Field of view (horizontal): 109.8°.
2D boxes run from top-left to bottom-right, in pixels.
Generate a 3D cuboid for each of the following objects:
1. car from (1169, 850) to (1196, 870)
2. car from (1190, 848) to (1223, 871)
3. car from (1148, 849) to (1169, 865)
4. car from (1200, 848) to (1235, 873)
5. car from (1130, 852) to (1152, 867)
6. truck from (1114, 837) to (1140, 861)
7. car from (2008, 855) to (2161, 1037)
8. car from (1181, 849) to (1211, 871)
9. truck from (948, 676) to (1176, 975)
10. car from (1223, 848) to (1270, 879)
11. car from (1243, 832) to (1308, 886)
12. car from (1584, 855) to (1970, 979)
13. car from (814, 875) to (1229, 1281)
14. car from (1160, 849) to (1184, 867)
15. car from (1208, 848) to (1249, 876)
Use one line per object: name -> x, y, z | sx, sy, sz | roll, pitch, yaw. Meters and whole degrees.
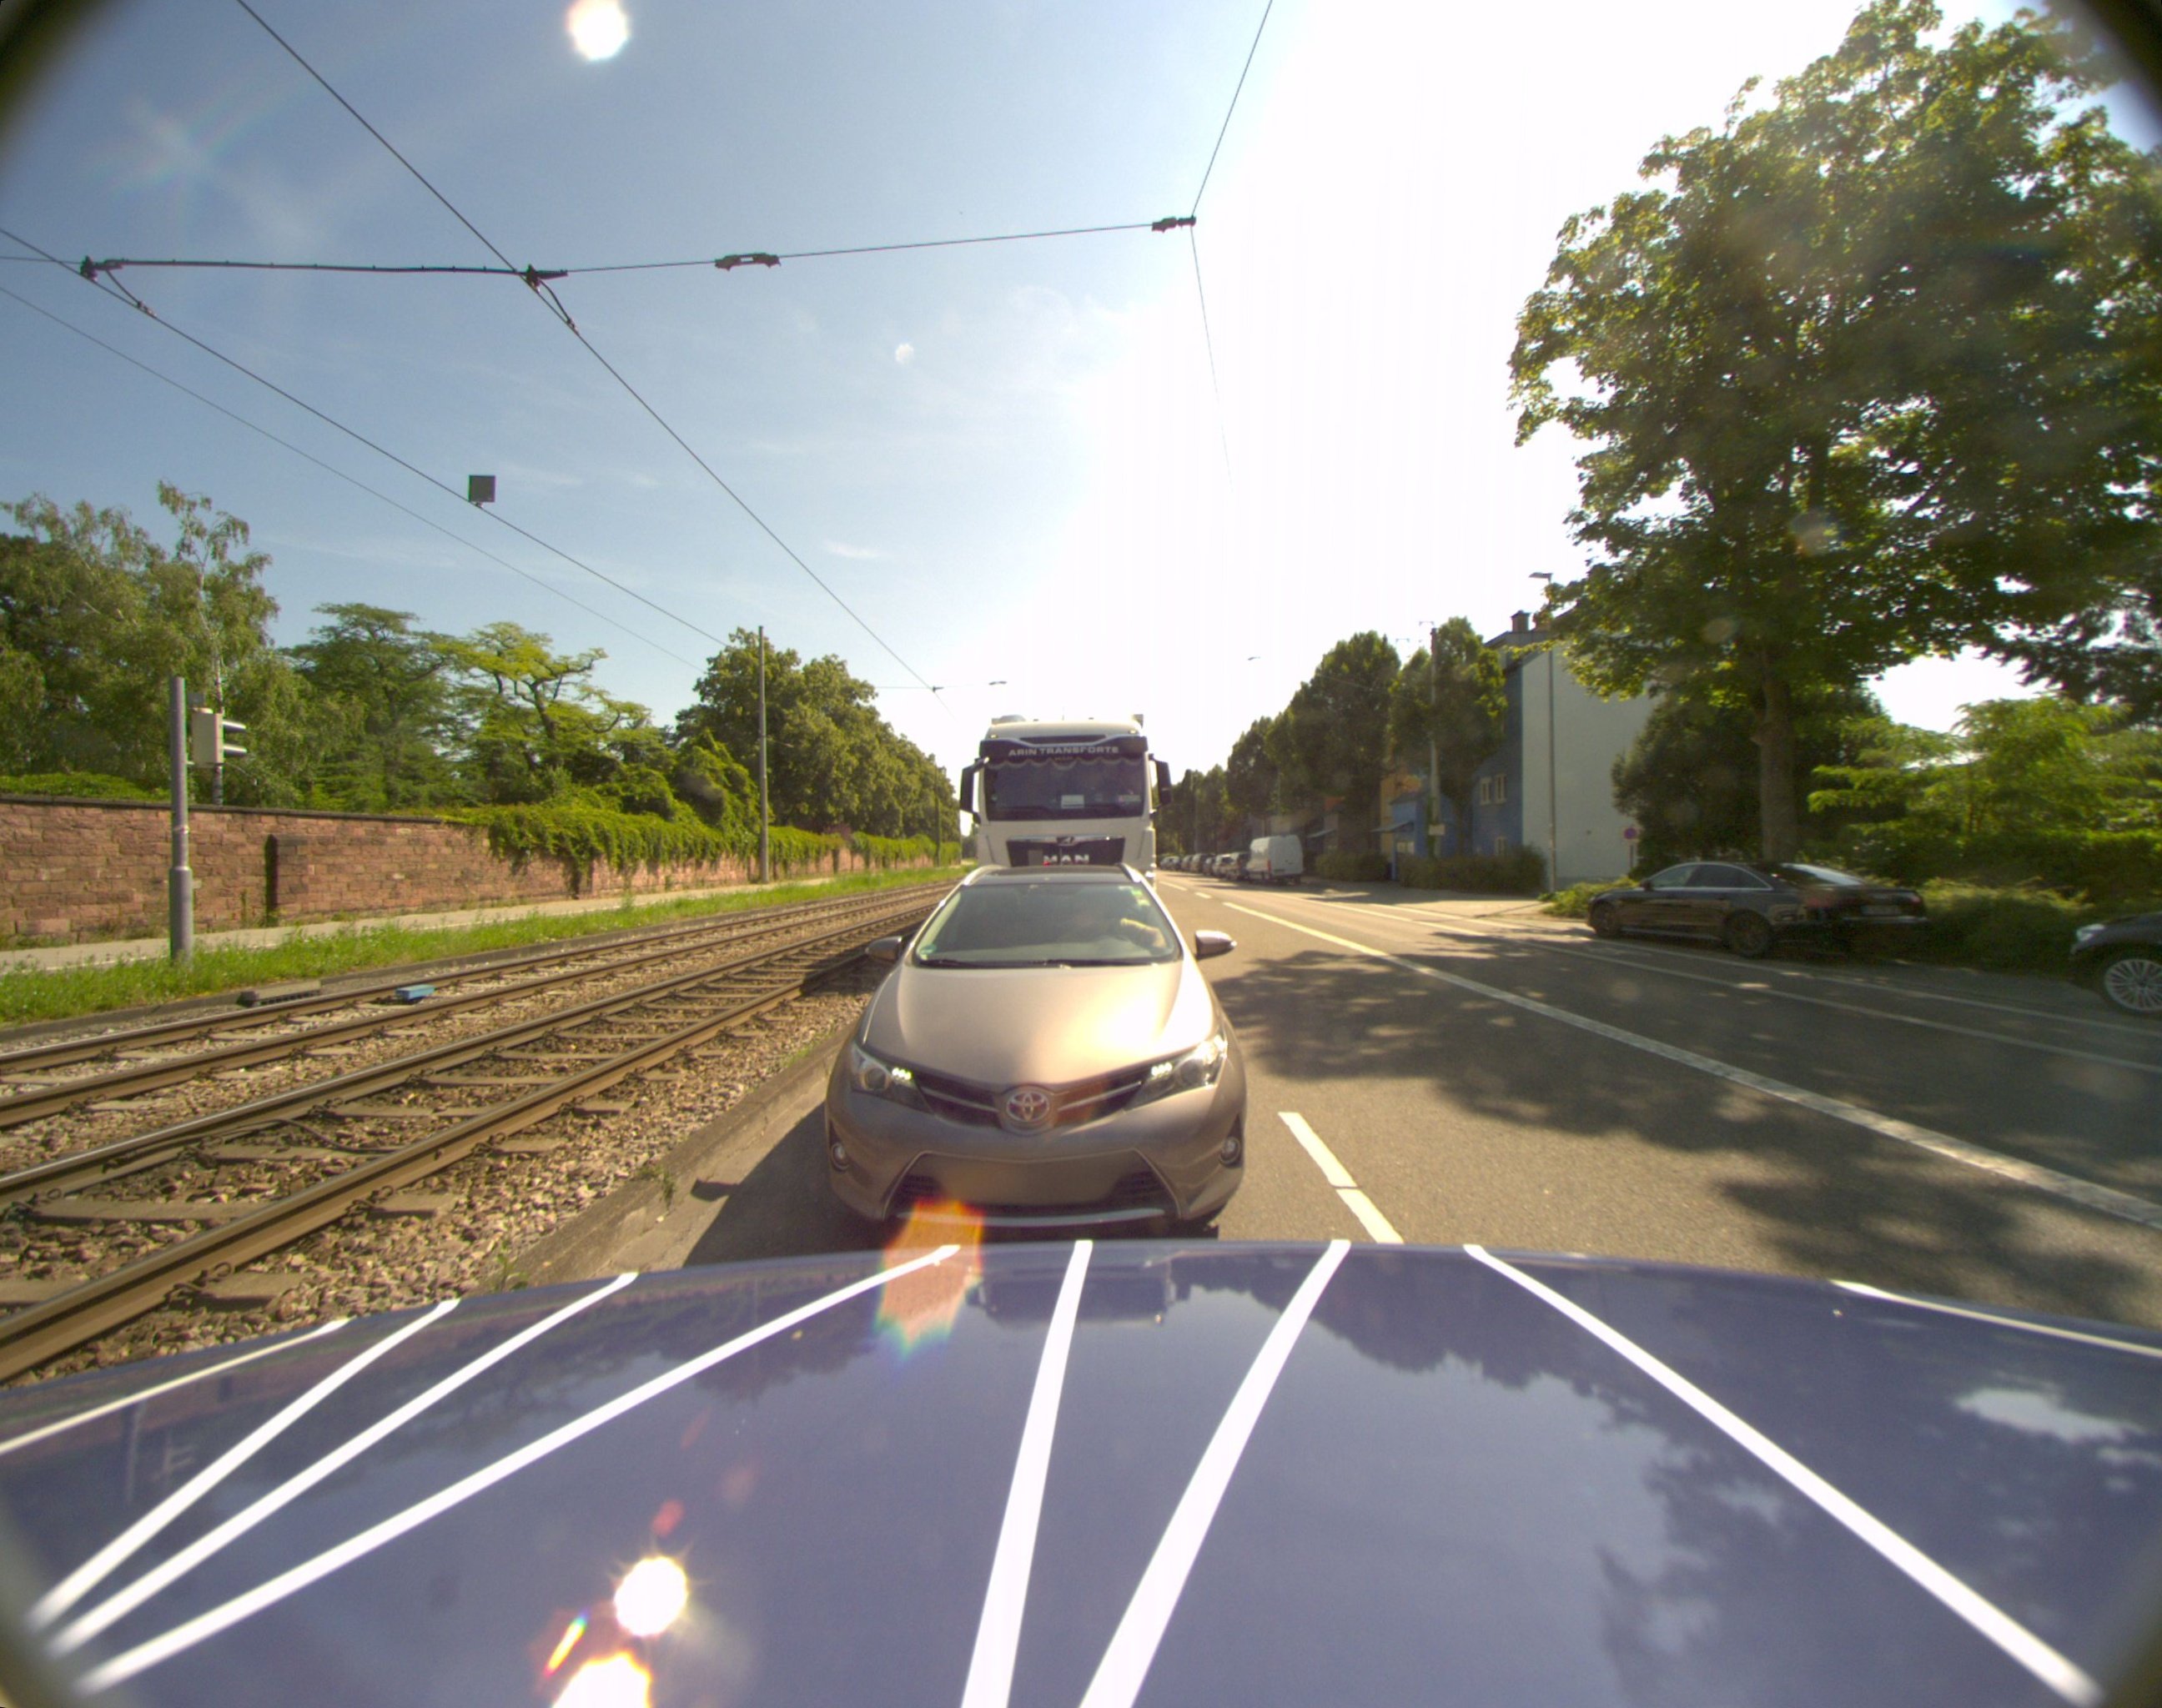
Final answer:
car -> 10.577, 0.633, 79.175 | 1.998, 1.795, 4.769 | -6, 0, 0
car -> 11.153, 0.499, 67.681 | 1.998, 1.795, 4.769 | -6, 0, 0
car -> 9.889, 0.400, 96.826 | 1.998, 1.795, 4.769 | -6, 0, 0
car -> 11.228, 0.523, 62.870 | 1.998, 1.795, 4.256 | -6, 0, 0
car -> 8.282, 0.797, 105.577 | 1.999, 1.795, 5.111 | -6, 0, -4
truck -> 6.988, -0.674, 116.114 | 2.704, 3.263, 6.724 | -6, 0, -5
car -> 10.563, 0.823, 5.578 | 1.868, 1.562, 4.621 | -2, 0, 0
car -> 11.028, 0.557, 73.386 | 1.998, 1.795, 4.769 | -6, 0, 0
truck -> -0.153, -0.386, 17.258 | 2.935, 3.856, 14.912 | 0, 0, 1
car -> 11.146, 0.633, 51.454 | 1.998, 1.795, 4.769 | -6, 0, 0
car -> 10.918, 0.249, 43.158 | 1.998, 2.678, 6.214 | -6, 0, 2
car -> 10.571, 0.821, 12.168 | 1.868, 1.562, 4.621 | -1, 0, -2
car -> -0.200, 0.909, 4.889 | 1.573, 1.422, 4.000 | 0, 0, 1
car -> 10.236, 0.477, 85.918 | 1.998, 1.795, 4.769 | -6, 0, 0
car -> 11.088, 0.576, 57.387 | 1.998, 1.795, 4.769 | -6, 0, 0
